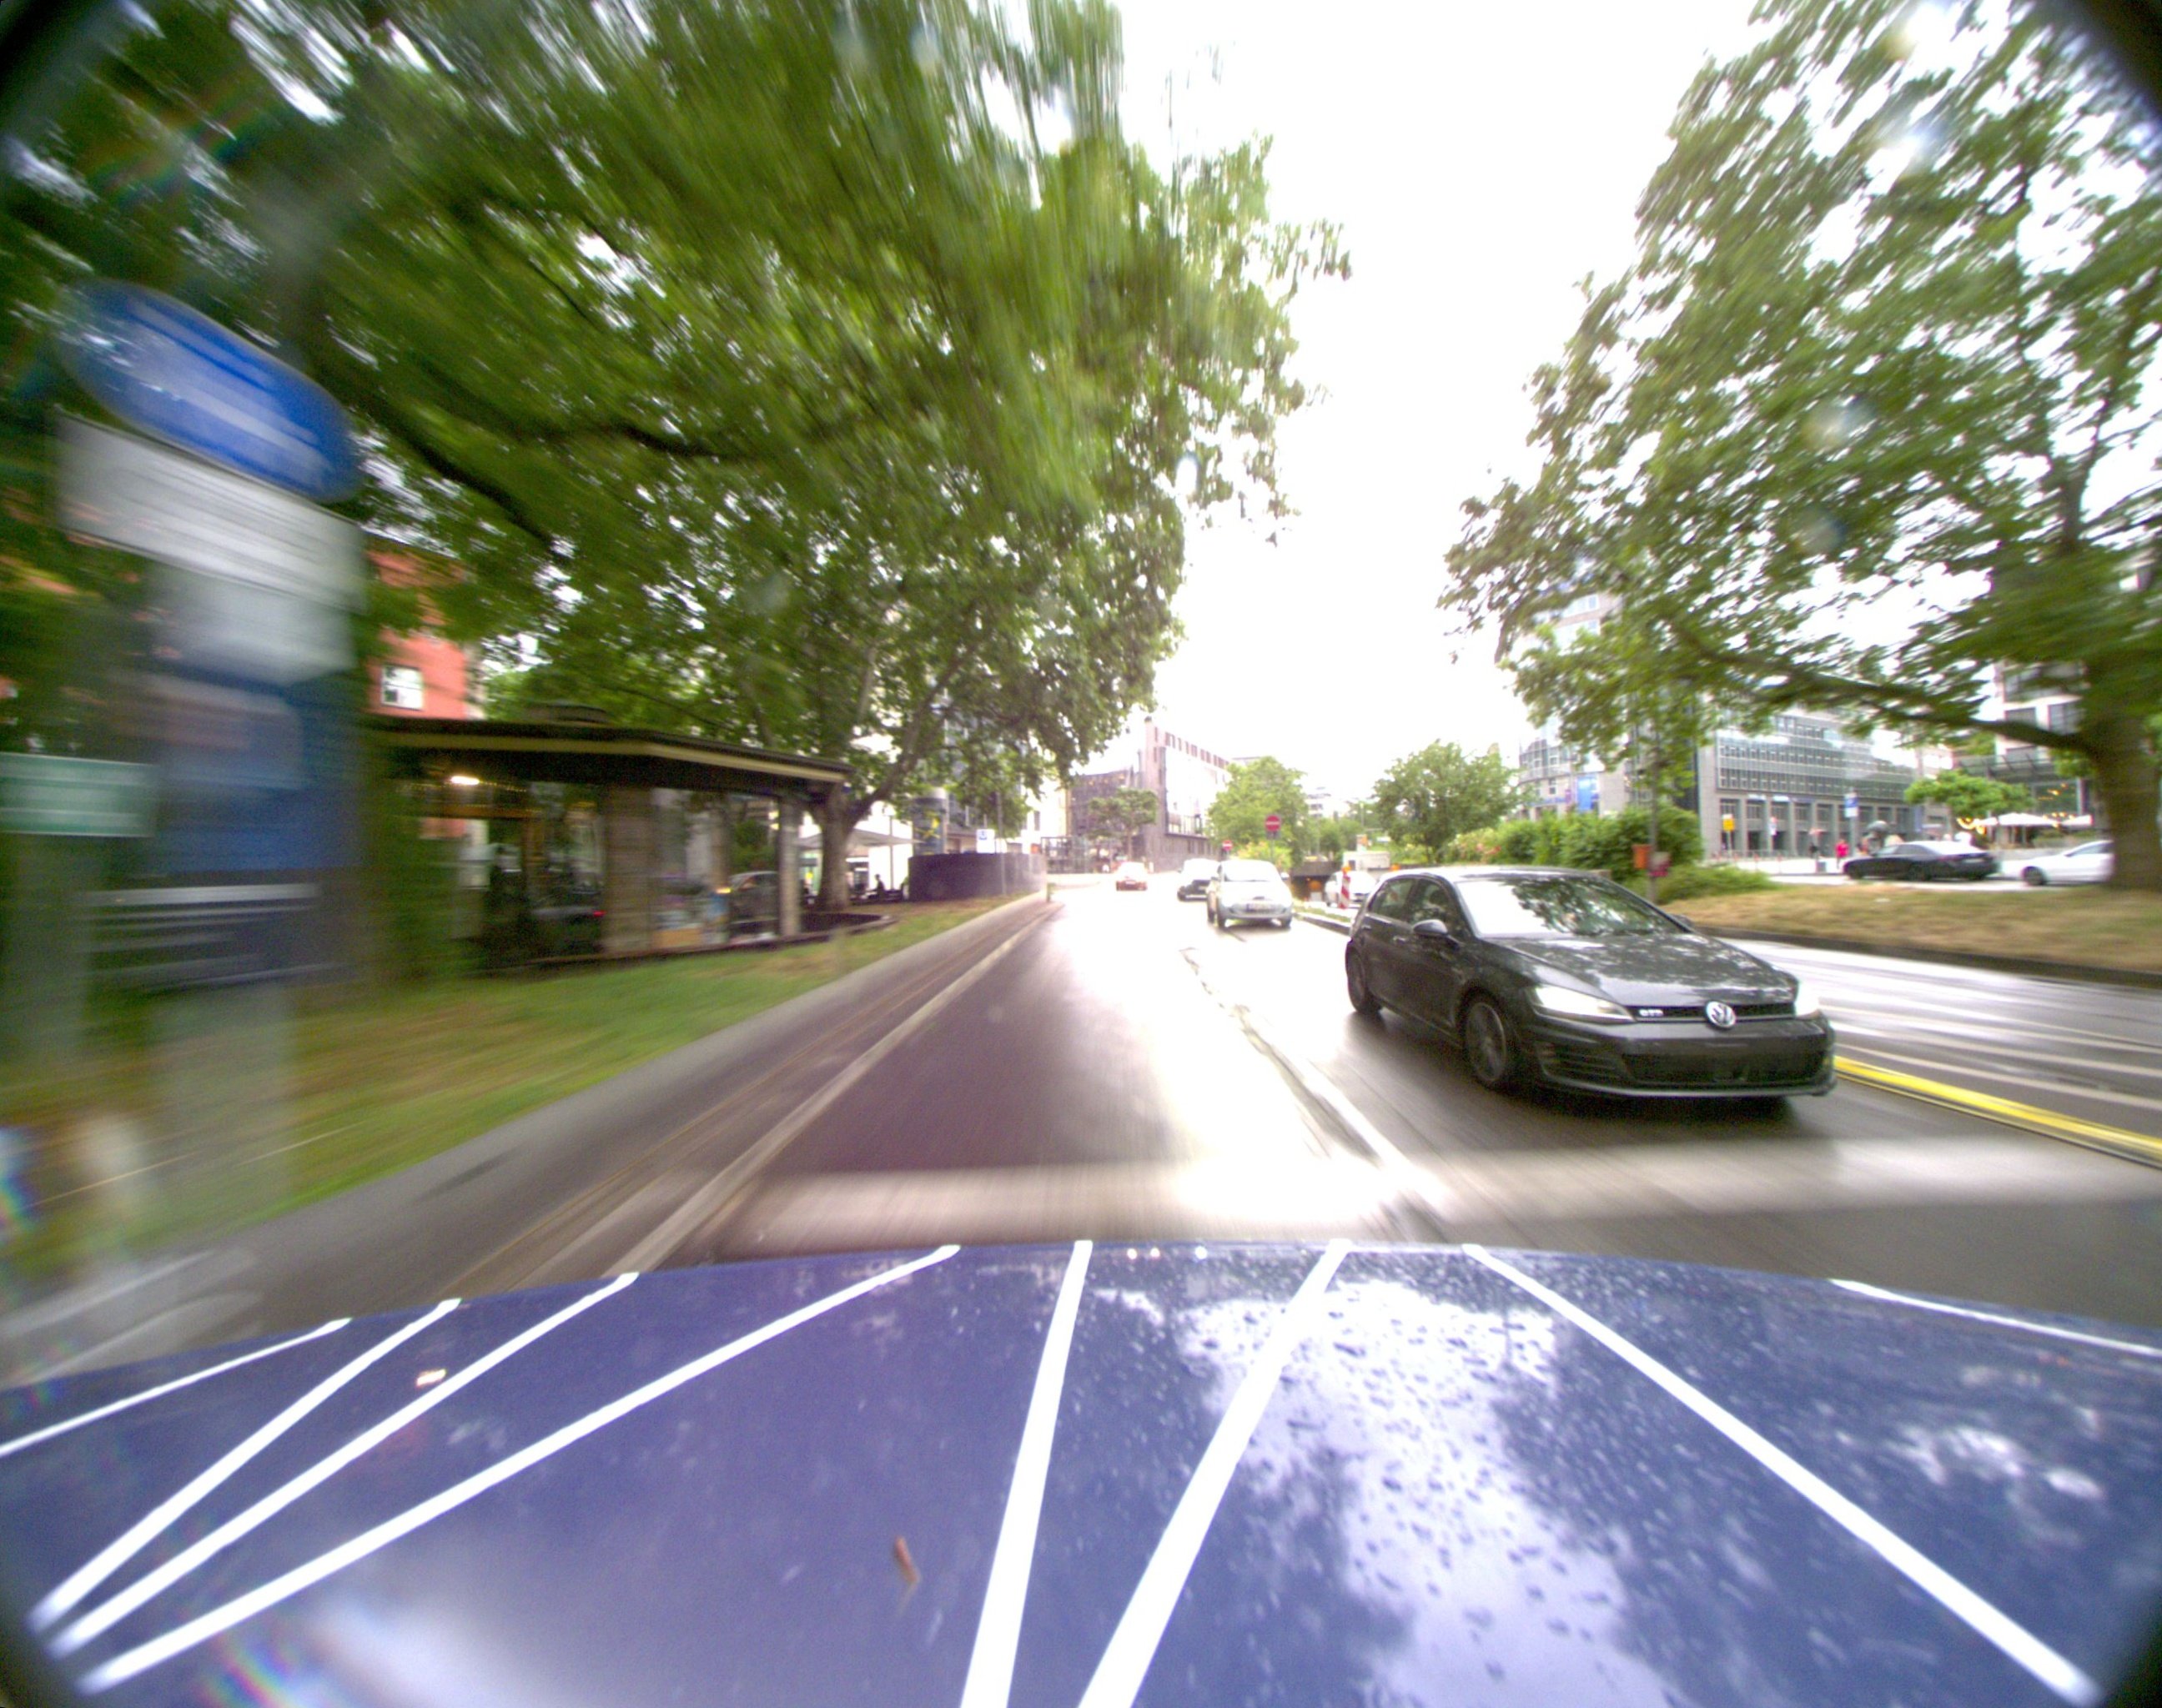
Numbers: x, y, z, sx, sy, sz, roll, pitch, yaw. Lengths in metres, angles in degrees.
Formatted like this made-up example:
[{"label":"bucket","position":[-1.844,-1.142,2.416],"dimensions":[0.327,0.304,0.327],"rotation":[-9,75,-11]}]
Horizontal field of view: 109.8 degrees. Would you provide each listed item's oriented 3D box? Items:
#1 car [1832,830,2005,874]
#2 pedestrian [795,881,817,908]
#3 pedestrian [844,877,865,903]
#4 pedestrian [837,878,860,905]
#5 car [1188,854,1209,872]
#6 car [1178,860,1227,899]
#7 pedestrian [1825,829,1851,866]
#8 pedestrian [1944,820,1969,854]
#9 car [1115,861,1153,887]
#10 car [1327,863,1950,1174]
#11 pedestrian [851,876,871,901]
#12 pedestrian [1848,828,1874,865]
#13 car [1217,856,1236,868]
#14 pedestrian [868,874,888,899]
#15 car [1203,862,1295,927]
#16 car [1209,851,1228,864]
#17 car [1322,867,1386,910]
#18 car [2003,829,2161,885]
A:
[{"label":"car","position":[32.442,-0.075,29.673],"dimensions":[2.010,1.525,4.714],"rotation":[-2,0,9]},{"label":"pedestrian","position":[-9.082,1.336,25.105],"dimensions":[0.575,0.867,0.565],"rotation":[-2,1,-29]},{"label":"pedestrian","position":[-7.951,1.250,26.658],"dimensions":[0.575,0.867,0.508],"rotation":[-2,1,-29]},{"label":"pedestrian","position":[-7.861,1.251,25.660],"dimensions":[0.575,0.867,0.741],"rotation":[-2,1,-28]},{"label":"car","position":[11.942,0.911,77.139],"dimensions":[1.997,1.733,3.912],"rotation":[-2,0,8]},{"label":"car","position":[4.788,0.985,30.284],"dimensions":[1.716,1.432,3.496],"rotation":[-1,0,6]},{"label":"pedestrian","position":[37.587,-0.336,37.729],"dimensions":[0.748,1.778,0.424],"rotation":[-3,0,33]},{"label":"pedestrian","position":[42.022,-0.810,36.473],"dimensions":[0.578,1.618,0.563],"rotation":[-2,1,8]},{"label":"car","position":[2.883,1.028,40.781],"dimensions":[1.715,1.274,3.496],"rotation":[-1,0,8]},{"label":"car","position":[3.384,0.838,5.780],"dimensions":[1.788,1.444,4.124],"rotation":[-2,0,2]},{"label":"pedestrian","position":[-7.962,1.246,27.491],"dimensions":[0.575,0.867,0.508],"rotation":[-2,1,-29]},{"label":"pedestrian","position":[38.221,-0.350,37.226],"dimensions":[0.748,1.778,0.473],"rotation":[-3,0,33]},{"label":"car","position":[22.680,1.243,118.473],"dimensions":[1.995,1.733,3.916],"rotation":[-2,0,23]},{"label":"pedestrian","position":[-7.185,1.144,26.926],"dimensions":[0.575,0.867,0.508],"rotation":[-2,1,-29]},{"label":"car","position":[4.008,0.918,18.595],"dimensions":[1.611,1.432,3.495],"rotation":[-1,0,2]},{"label":"car","position":[19.874,0.533,109.607],"dimensions":[1.996,1.733,3.915],"rotation":[-2,0,18]},{"label":"car","position":[11.932,1.466,33.411],"dimensions":[1.780,1.587,4.002],"rotation":[-2,0,7]},{"label":"car","position":[31.486,0.053,23.041],"dimensions":[2.010,1.525,4.439],"rotation":[-2,0,9]}]
